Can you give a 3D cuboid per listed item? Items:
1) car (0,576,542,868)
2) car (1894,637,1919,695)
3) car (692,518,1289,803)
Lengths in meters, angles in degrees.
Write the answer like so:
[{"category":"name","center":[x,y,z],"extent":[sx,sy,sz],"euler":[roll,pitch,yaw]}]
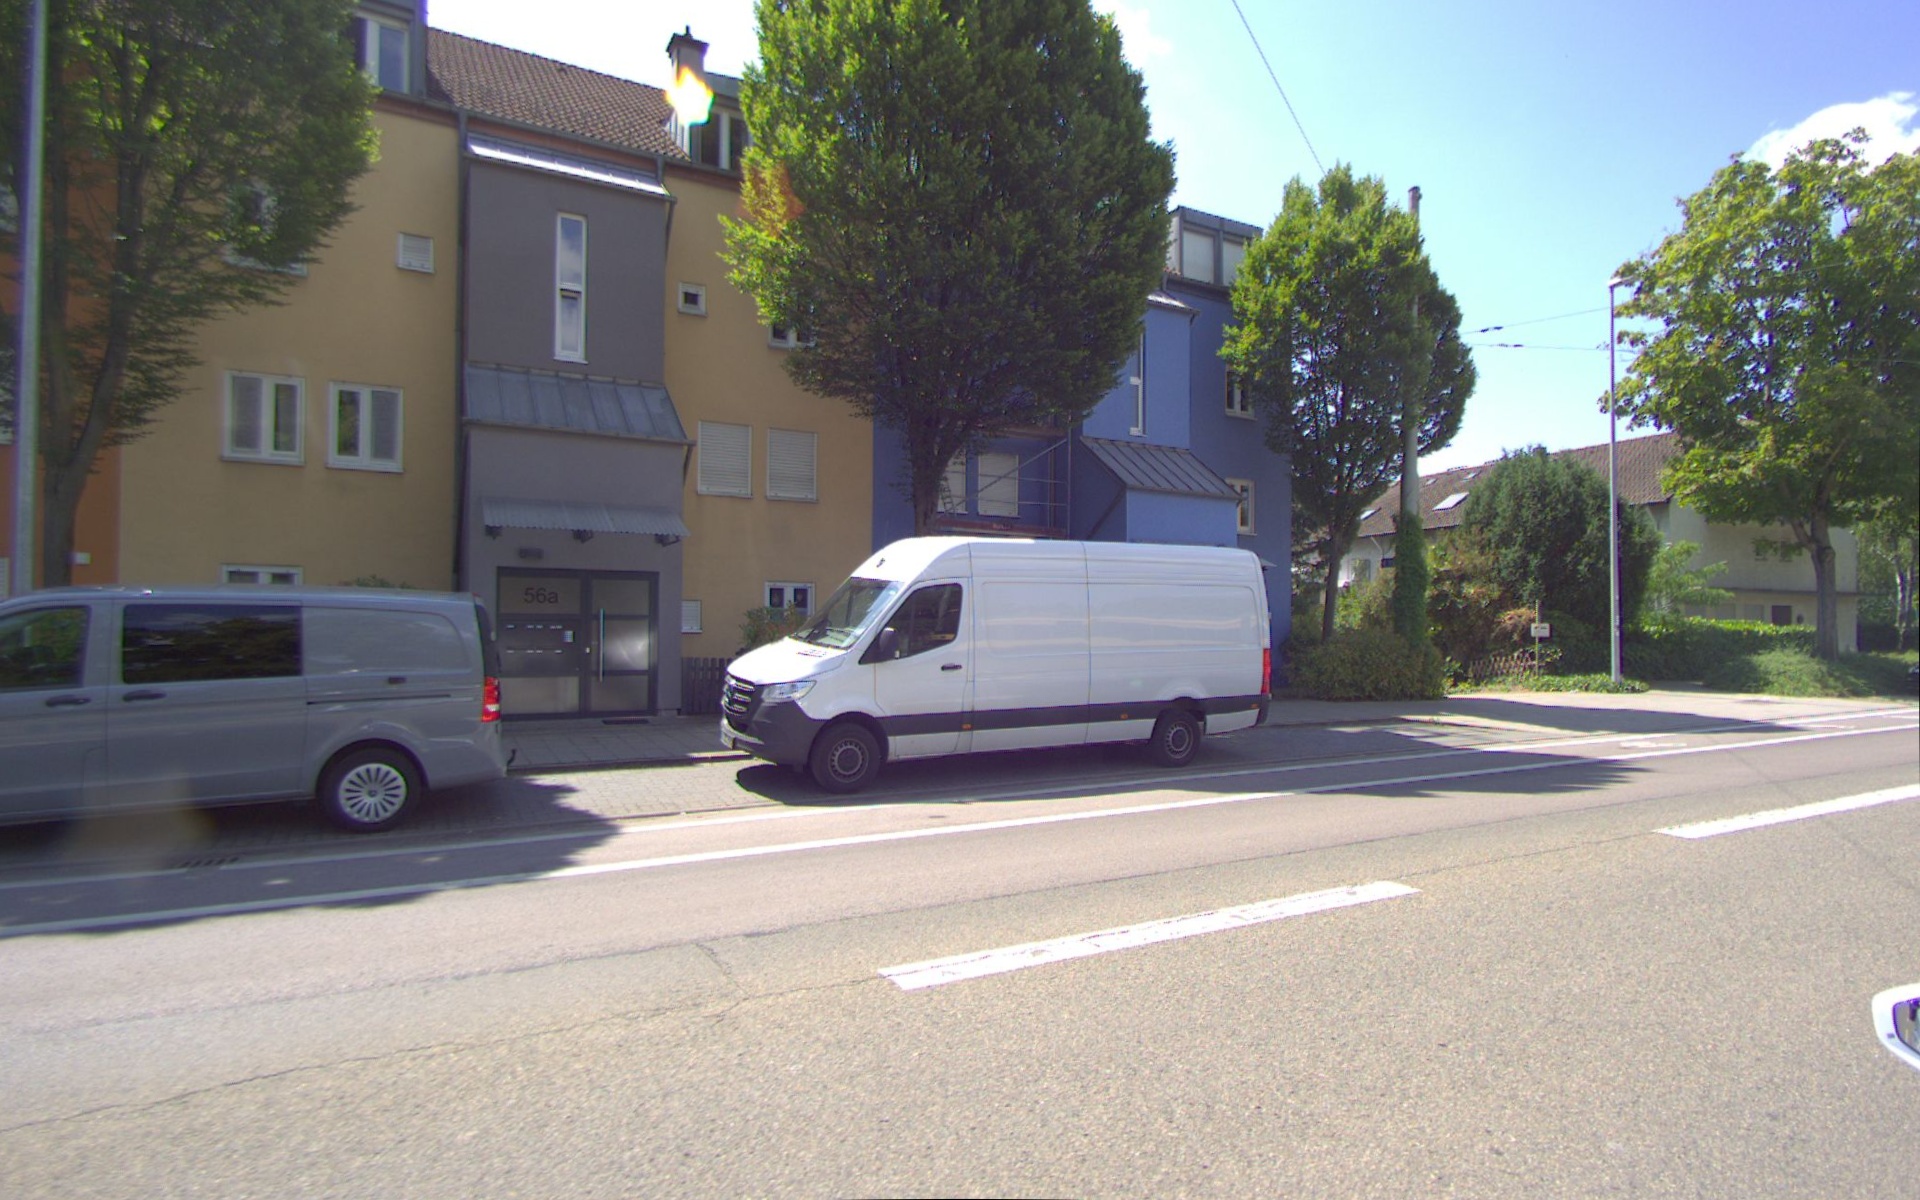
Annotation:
[{"category":"car","center":[-6.287,0.837,7.967],"extent":[5.297,1.921,1.798],"euler":[1,3,-30]},{"category":"car","center":[27.053,1.762,26.881],"extent":[4.749,1.475,1.766],"euler":[1,-1,-31]},{"category":"car","center":[0.545,0.581,12.147],"extent":[6.947,2.687,2.313],"euler":[1,2,-29]}]
